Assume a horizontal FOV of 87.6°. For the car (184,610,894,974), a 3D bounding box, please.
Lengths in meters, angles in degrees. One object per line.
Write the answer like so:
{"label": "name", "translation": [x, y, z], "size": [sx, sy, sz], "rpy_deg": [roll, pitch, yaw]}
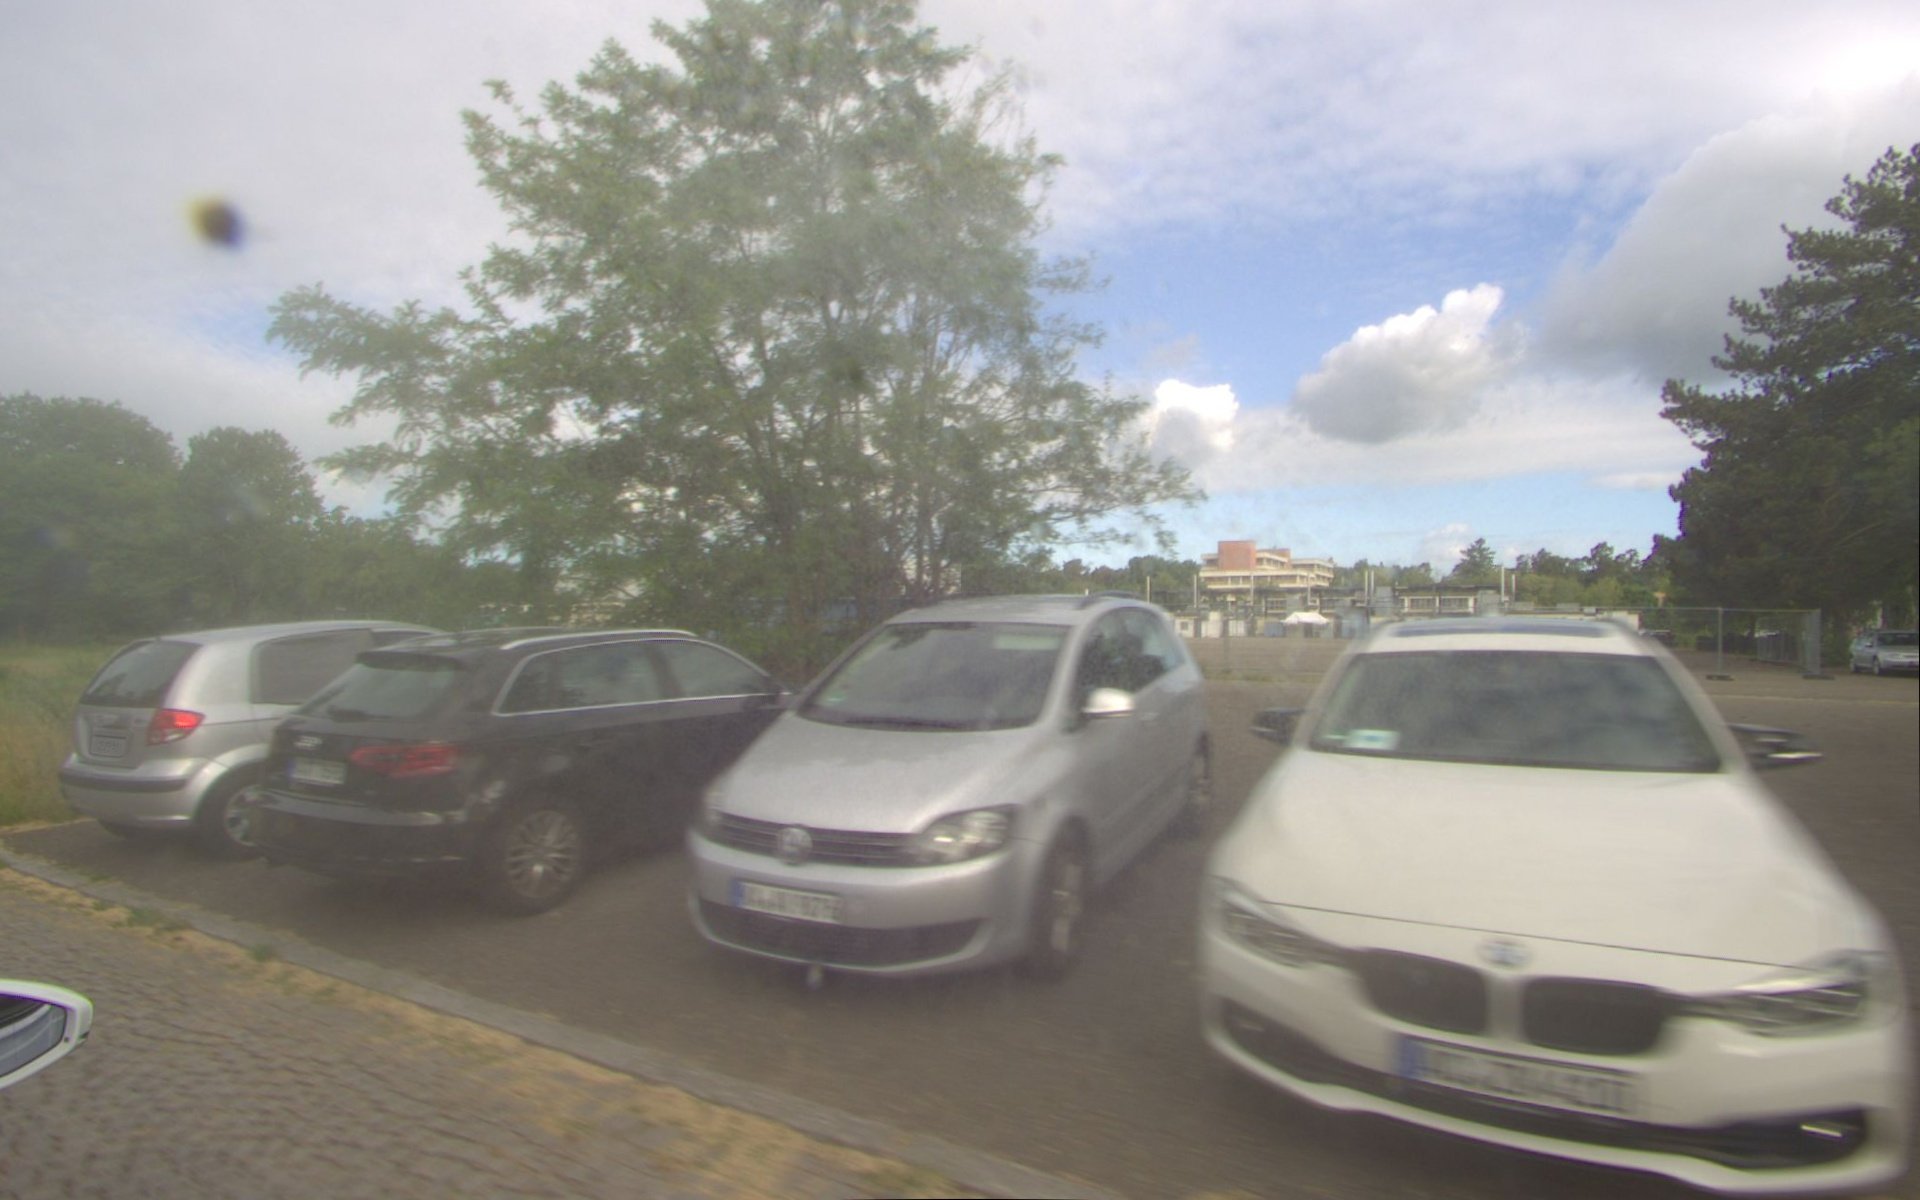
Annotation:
{"label": "car", "translation": [-2.311, 0.874, 6.653], "size": [1.856, 1.473, 4.068], "rpy_deg": [0, 1, 28]}

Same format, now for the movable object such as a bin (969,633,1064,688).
{"label": "movable object such as a bin", "translation": [1.159, 1.156, 19.761], "size": [0.840, 1.001, 2.681], "rpy_deg": [0, -1, 28]}

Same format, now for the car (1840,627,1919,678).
{"label": "car", "translation": [29.564, 1.622, 31.478], "size": [1.942, 1.502, 3.985], "rpy_deg": [0, -1, 28]}

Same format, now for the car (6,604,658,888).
{"label": "car", "translation": [-4.591, 0.867, 8.041], "size": [1.776, 1.535, 4.068], "rpy_deg": [0, 1, 28]}

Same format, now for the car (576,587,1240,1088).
{"label": "car", "translation": [0.198, 0.778, 5.638], "size": [1.855, 1.618, 4.235], "rpy_deg": [0, 1, 27]}

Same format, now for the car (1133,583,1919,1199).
{"label": "car", "translation": [2.381, 0.755, 4.389], "size": [1.876, 1.587, 4.487], "rpy_deg": [0, 1, 28]}
